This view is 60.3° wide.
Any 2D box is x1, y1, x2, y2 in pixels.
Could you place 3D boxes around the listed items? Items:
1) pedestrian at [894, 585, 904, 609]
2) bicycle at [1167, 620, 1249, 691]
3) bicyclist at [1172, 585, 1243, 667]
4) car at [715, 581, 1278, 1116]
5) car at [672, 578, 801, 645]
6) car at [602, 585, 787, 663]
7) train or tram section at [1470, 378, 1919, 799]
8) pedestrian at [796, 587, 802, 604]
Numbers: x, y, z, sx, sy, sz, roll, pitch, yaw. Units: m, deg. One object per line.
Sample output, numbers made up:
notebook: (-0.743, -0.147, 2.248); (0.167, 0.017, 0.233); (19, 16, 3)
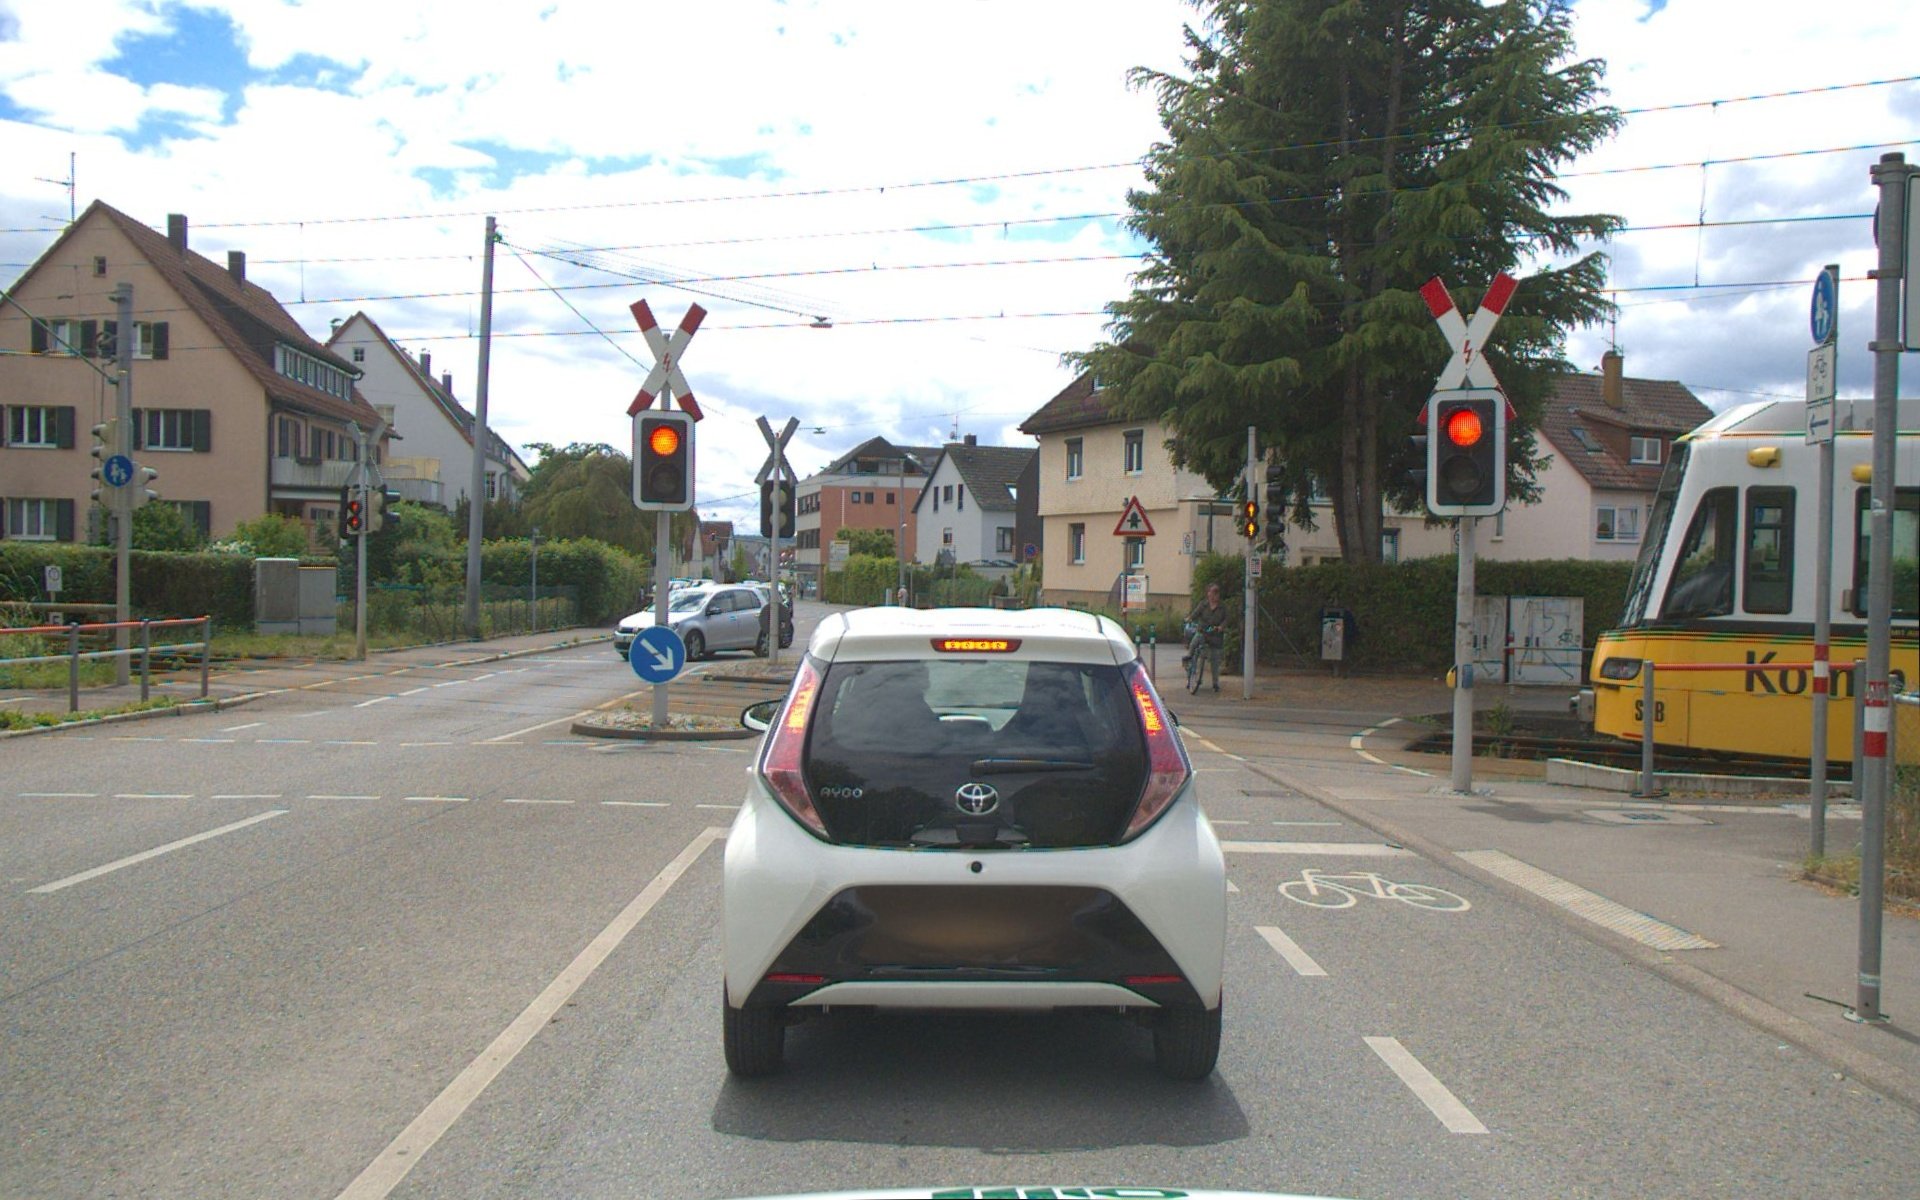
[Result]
pedestrian: (-3.634, -0.181, 98.986); (0.405, 1.463, 0.437); (2, 0, 25)
bicycle: (3.977, 0.861, 26.367); (0.912, 1.058, 1.915); (0, 0, 20)
bicyclist: (3.944, 0.405, 26.276); (0.912, 1.269, 1.102); (0, 0, 21)
car: (0.080, 0.719, 6.709); (1.588, 1.512, 3.999); (1, 0, -1)
car: (-5.449, 0.289, 40.482); (1.551, 1.536, 2.772); (1, 0, 41)
car: (-5.433, 0.453, 34.357); (1.656, 1.484, 4.063); (0, 1, 28)
train or tram section: (9.114, -0.094, 16.258); (7.535, 3.786, 2.869); (2, 0, 22)
pedestrian: (-14.132, -0.427, 145.088); (0.406, 1.463, 0.436); (1, 0, -11)
